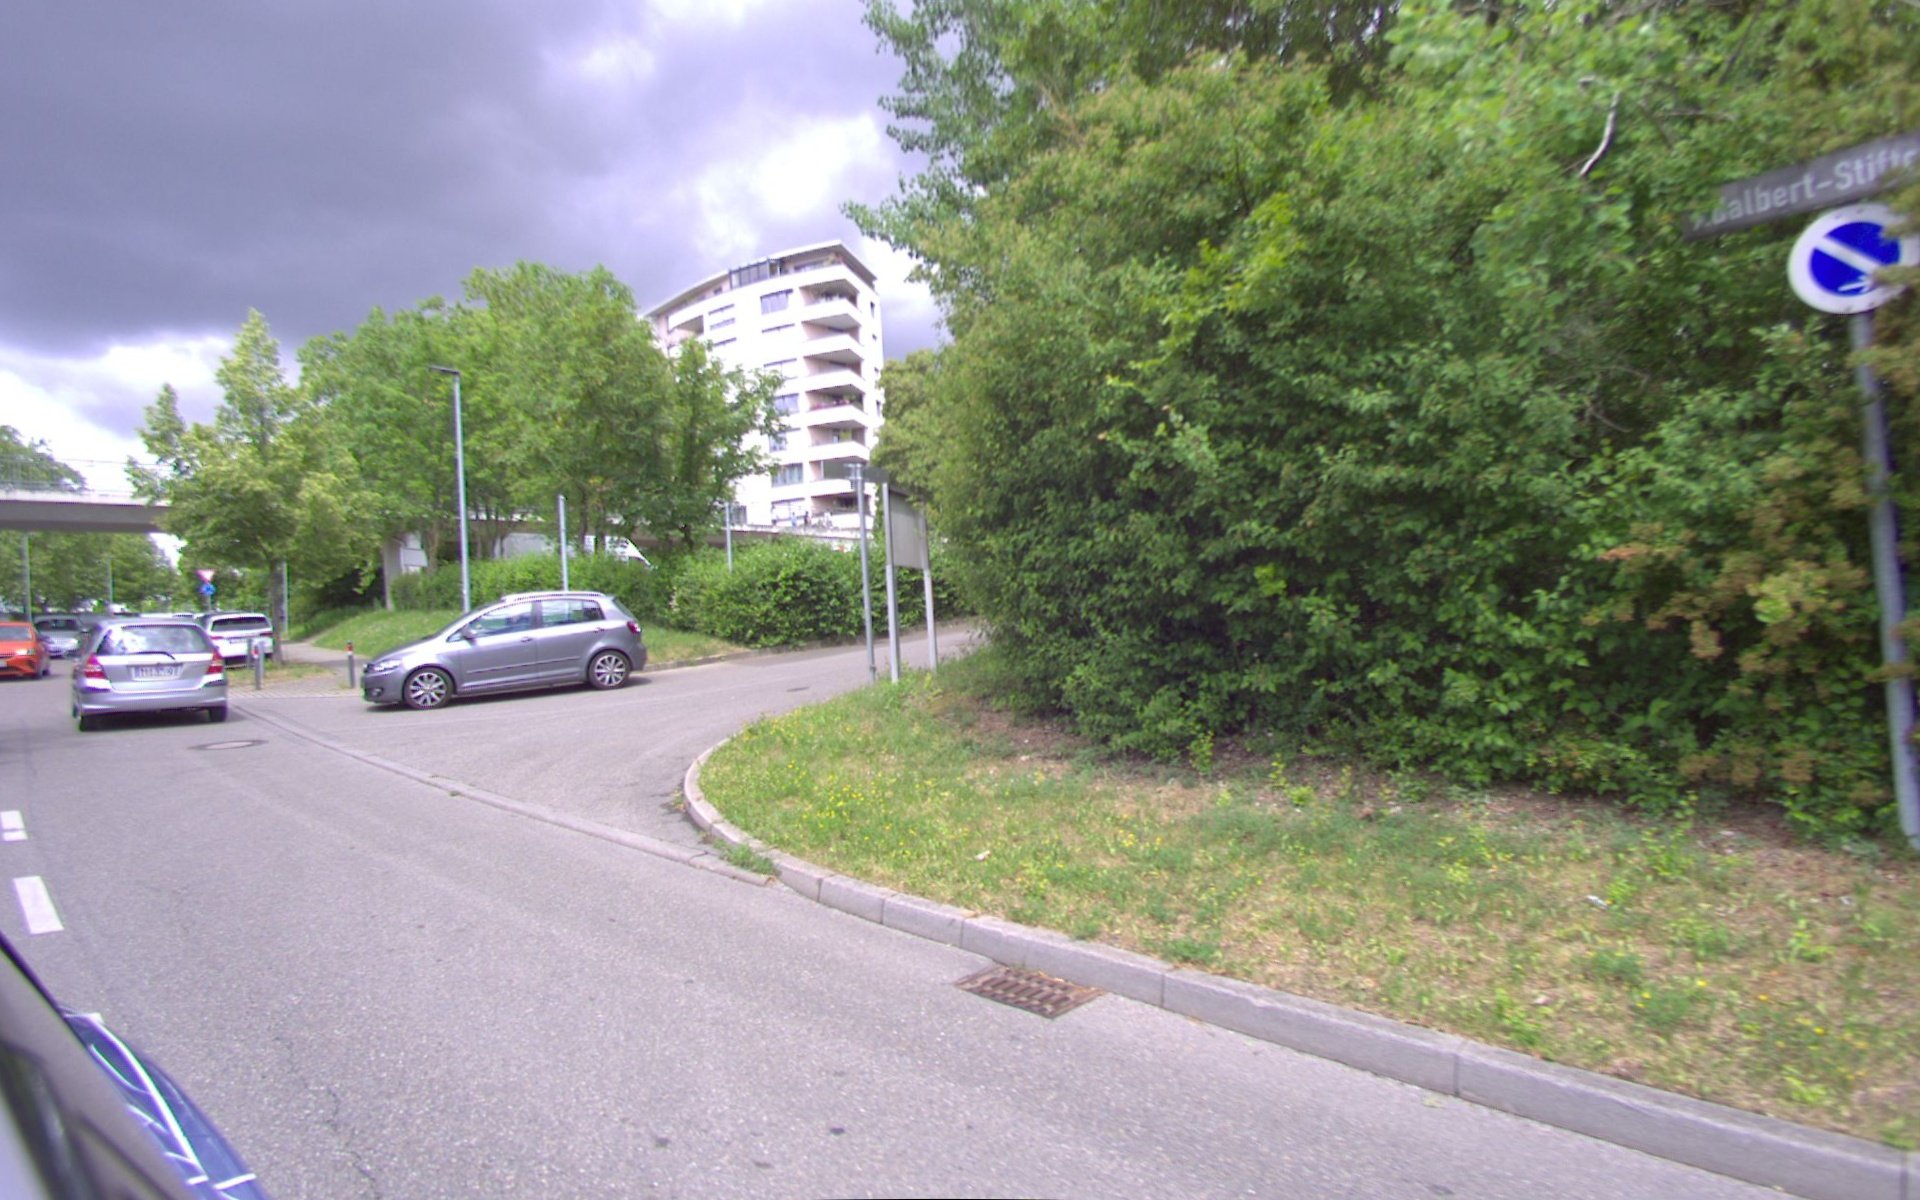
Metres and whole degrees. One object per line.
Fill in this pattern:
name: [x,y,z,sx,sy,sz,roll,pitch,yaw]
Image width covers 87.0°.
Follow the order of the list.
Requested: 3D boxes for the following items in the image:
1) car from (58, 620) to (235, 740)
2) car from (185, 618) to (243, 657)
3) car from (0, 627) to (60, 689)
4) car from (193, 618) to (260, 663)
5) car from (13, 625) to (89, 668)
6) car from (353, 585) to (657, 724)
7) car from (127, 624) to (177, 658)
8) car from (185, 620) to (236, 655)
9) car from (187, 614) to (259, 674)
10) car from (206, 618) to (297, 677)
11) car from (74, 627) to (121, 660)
car: [-11.927,1.057,14.820,1.818,1.467,3.658,-1,0,-41]
car: [-32.588,1.619,44.317,1.784,1.466,3.871,-4,2,-34]
car: [-24.045,1.437,25.317,1.832,1.453,4.010,-1,-1,-35]
car: [-27.977,1.493,38.544,1.785,1.491,4.494,-3,1,-39]
car: [-33.989,1.698,37.926,1.753,1.463,4.009,-1,0,-37]
car: [-7.091,0.742,15.893,4.051,1.674,1.763,-5,3,-32]
car: [-37.056,1.845,46.453,1.729,1.430,4.376,0,-1,-38]
car: [-35.915,1.760,48.568,1.784,1.582,3.732,-1,0,-34]
car: [-22.281,1.278,30.611,1.573,1.596,2.691,-6,3,-36]
car: [-19.002,1.207,27.060,1.785,1.415,4.056,-1,0,-38]
car: [-44.982,2.227,52.748,1.754,1.430,4.005,-4,3,-42]
